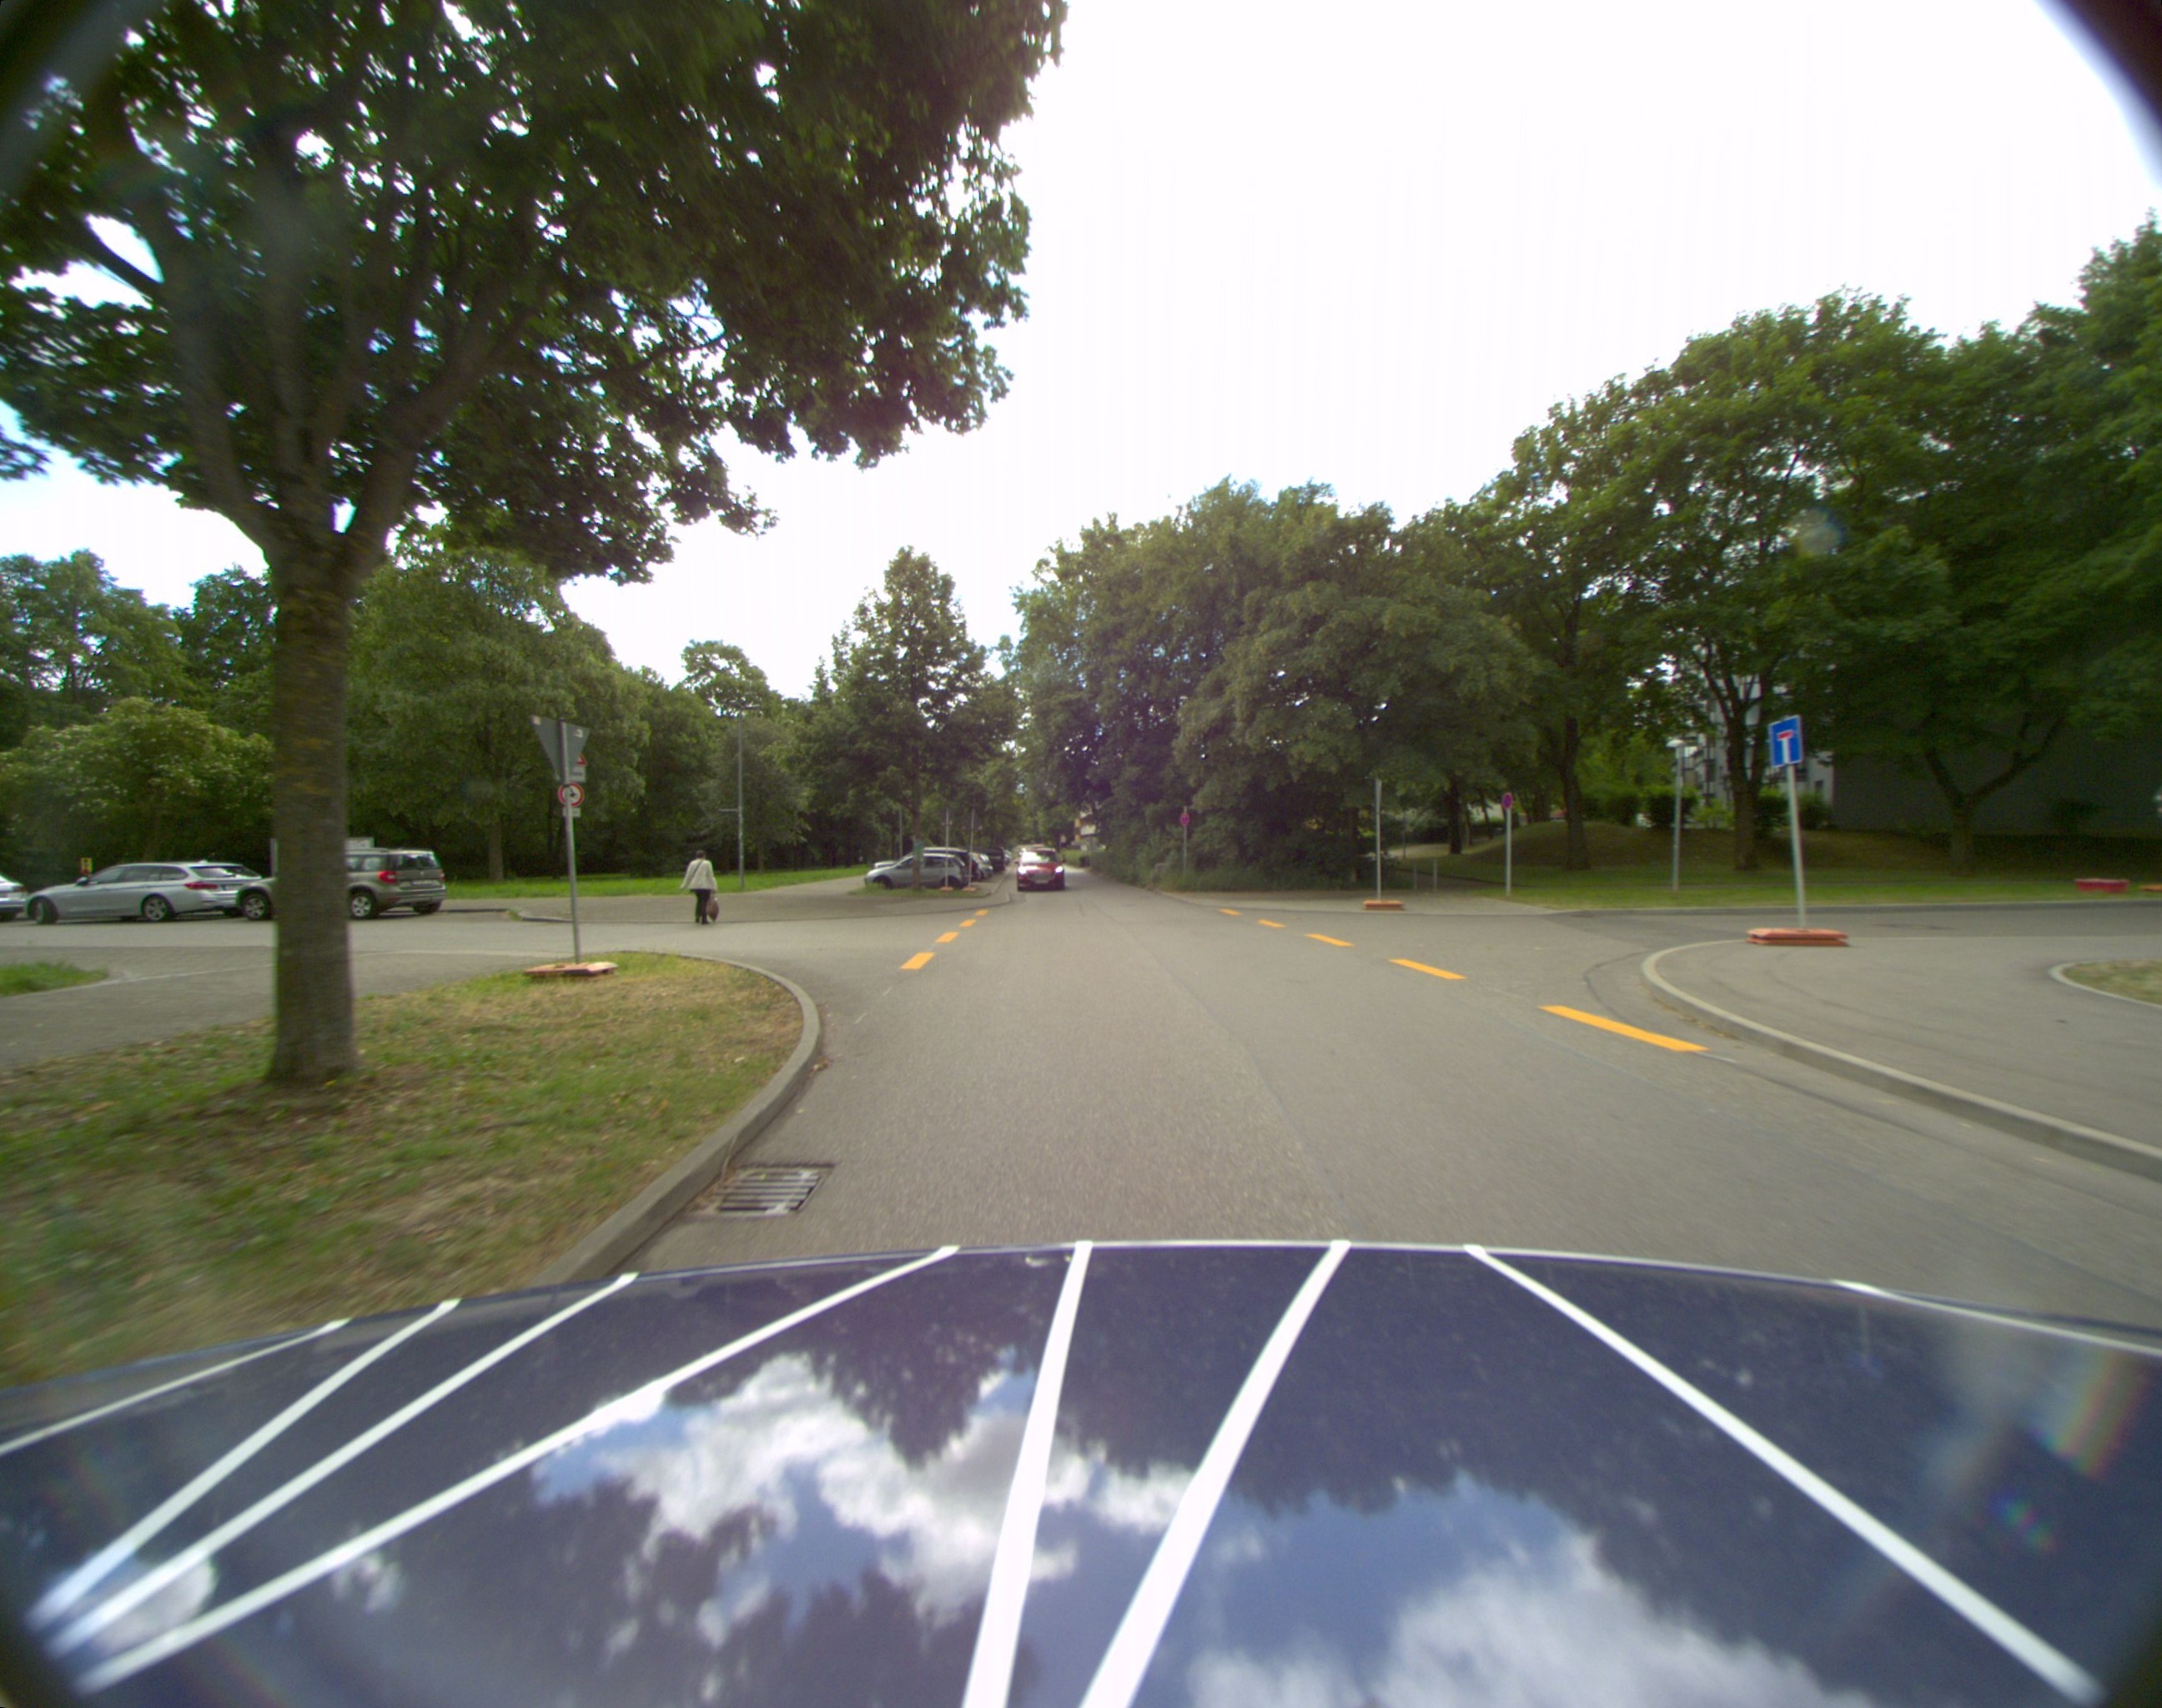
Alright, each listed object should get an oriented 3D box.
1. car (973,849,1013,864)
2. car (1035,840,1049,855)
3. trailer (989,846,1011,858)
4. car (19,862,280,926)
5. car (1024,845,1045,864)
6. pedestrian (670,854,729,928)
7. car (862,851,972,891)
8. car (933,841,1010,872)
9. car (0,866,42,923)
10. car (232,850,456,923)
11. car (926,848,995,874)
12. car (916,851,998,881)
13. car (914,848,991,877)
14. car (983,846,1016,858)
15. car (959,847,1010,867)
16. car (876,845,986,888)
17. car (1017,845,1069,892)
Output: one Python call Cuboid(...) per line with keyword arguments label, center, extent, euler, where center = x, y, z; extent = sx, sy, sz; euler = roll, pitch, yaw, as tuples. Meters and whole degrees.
Cuboid(label="car", center=(-9.262, 0.266, 80.398), extent=(4.084, 1.448, 1.850), euler=(1, 1, -3))
Cuboid(label="car", center=(-6.645, -1.145, 129.244), extent=(2.138, 2.461, 6.274), euler=(-2, 0, -3))
Cuboid(label="trailer", center=(-11.689, -0.283, 109.464), extent=(3.039, 1.780, 1.562), euler=(1, 1, -7))
Cuboid(label="car", center=(-22.905, 0.954, 18.801), extent=(4.403, 1.420, 1.703), euler=(-1, 1, 2))
Cuboid(label="car", center=(-4.497, 0.055, 72.726), extent=(1.919, 1.707, 5.036), euler=(-2, 1, -4))
Cuboid(label="pedestrian", center=(-8.404, 0.803, 16.753), extent=(0.836, 1.567, 0.809), euler=(-1, 1, 2))
Cuboid(label="car", center=(-6.156, 0.624, 28.863), extent=(3.843, 1.395, 1.851), euler=(1, 1, -3))
Cuboid(label="car", center=(-7.373, 0.164, 51.730), extent=(4.968, 2.002, 2.165), euler=(1, 1, -3))
Cuboid(label="car", center=(-29.224, 1.055, 18.953), extent=(4.439, 1.420, 1.703), euler=(-1, 1, 3))
Cuboid(label="car", center=(-17.787, 0.754, 18.452), extent=(3.788, 1.659, 1.768), euler=(0, 1, 3))
Cuboid(label="car", center=(-7.361, 0.405, 46.786), extent=(3.972, 1.502, 1.793), euler=(1, 1, -3))
Cuboid(label="car", center=(-6.366, 0.608, 39.291), extent=(3.999, 1.422, 1.934), euler=(1, 1, -5))
Cuboid(label="car", center=(-7.030, 0.466, 41.959), extent=(3.998, 1.519, 1.810), euler=(1, 1, -4))
Cuboid(label="car", center=(-12.281, -0.319, 114.715), extent=(4.830, 1.683, 1.973), euler=(1, 1, -1))
Cuboid(label="car", center=(-8.510, 0.240, 67.357), extent=(4.428, 1.666, 2.081), euler=(1, 0, -4))
Cuboid(label="car", center=(-6.133, 0.487, 31.398), extent=(4.134, 1.640, 1.979), euler=(1, 1, -1))
Cuboid(label="car", center=(-1.630, 0.522, 31.245), extent=(1.919, 1.707, 5.036), euler=(-2, 1, -4))
